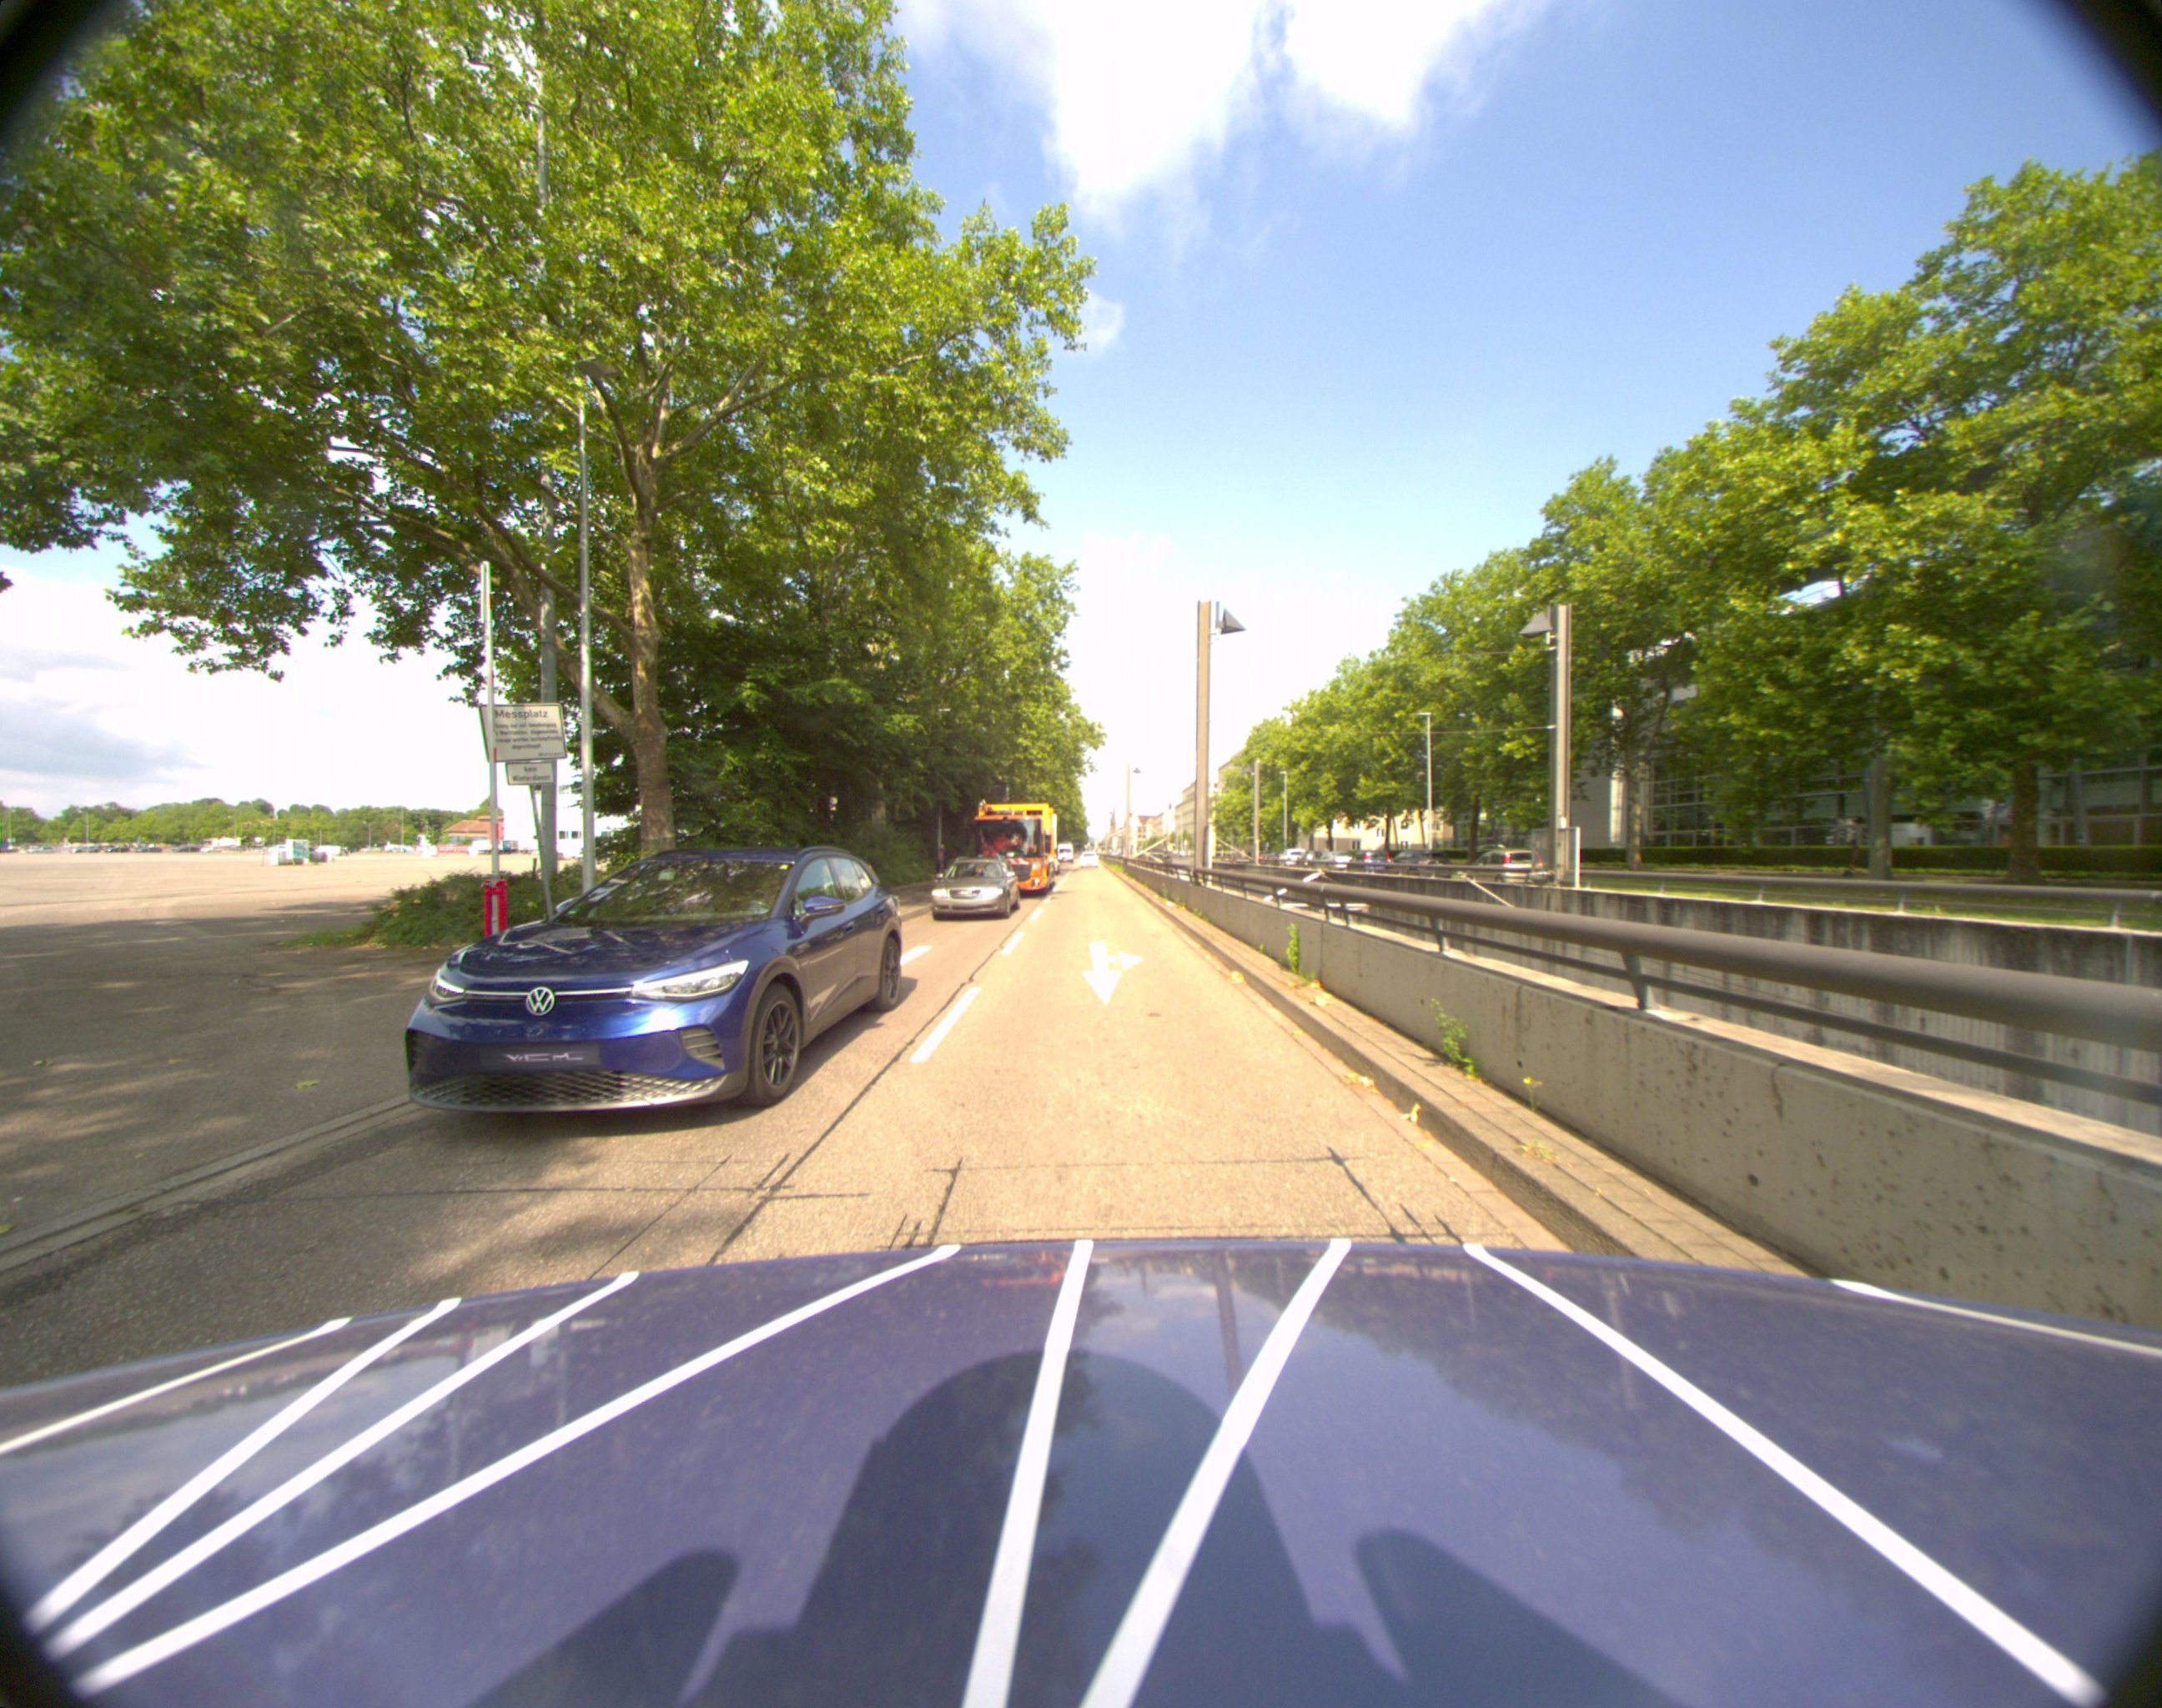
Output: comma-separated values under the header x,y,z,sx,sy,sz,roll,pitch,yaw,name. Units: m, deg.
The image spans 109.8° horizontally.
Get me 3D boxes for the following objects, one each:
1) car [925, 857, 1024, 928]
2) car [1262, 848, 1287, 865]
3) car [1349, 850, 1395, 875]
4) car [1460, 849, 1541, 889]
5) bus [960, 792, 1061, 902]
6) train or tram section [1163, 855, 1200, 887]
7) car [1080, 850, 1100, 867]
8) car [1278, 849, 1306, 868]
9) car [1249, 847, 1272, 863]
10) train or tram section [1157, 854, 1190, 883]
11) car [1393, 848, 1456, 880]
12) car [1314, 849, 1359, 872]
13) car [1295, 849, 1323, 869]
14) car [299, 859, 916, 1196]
x,y,z,sx,sy,sz,roll,pitch,yaw,name
-2.499,0.862,18.784,1.771,1.455,4.000,-2,1,1,car
15.918,0.177,62.663,1.309,1.368,3.184,0,1,1,car
16.219,0.444,42.450,1.515,1.368,2.887,0,1,1,car
16.070,0.529,29.253,1.420,1.447,3.156,0,1,1,car
-2.413,-0.291,29.747,2.744,3.446,10.393,-2,1,1,bus
8.401,1.365,63.898,2.216,2.444,6.248,-2,1,0,train or tram section
0.873,0.412,74.292,1.737,1.478,3.600,-5,2,-1,car
15.862,0.302,57.207,1.309,1.368,3.184,0,1,1,car
16.044,0.108,67.966,1.309,1.368,3.184,0,1,1,car
8.474,1.293,70.127,2.216,2.444,6.248,-2,1,0,train or tram section
16.275,0.438,36.156,1.582,1.426,3.156,0,1,1,car
16.110,0.387,48.105,1.579,1.368,3.895,0,1,1,car
15.923,0.335,53.177,1.167,1.368,2.745,0,1,1,car
-2.795,0.861,5.977,1.891,1.566,4.580,-2,0,1,car
